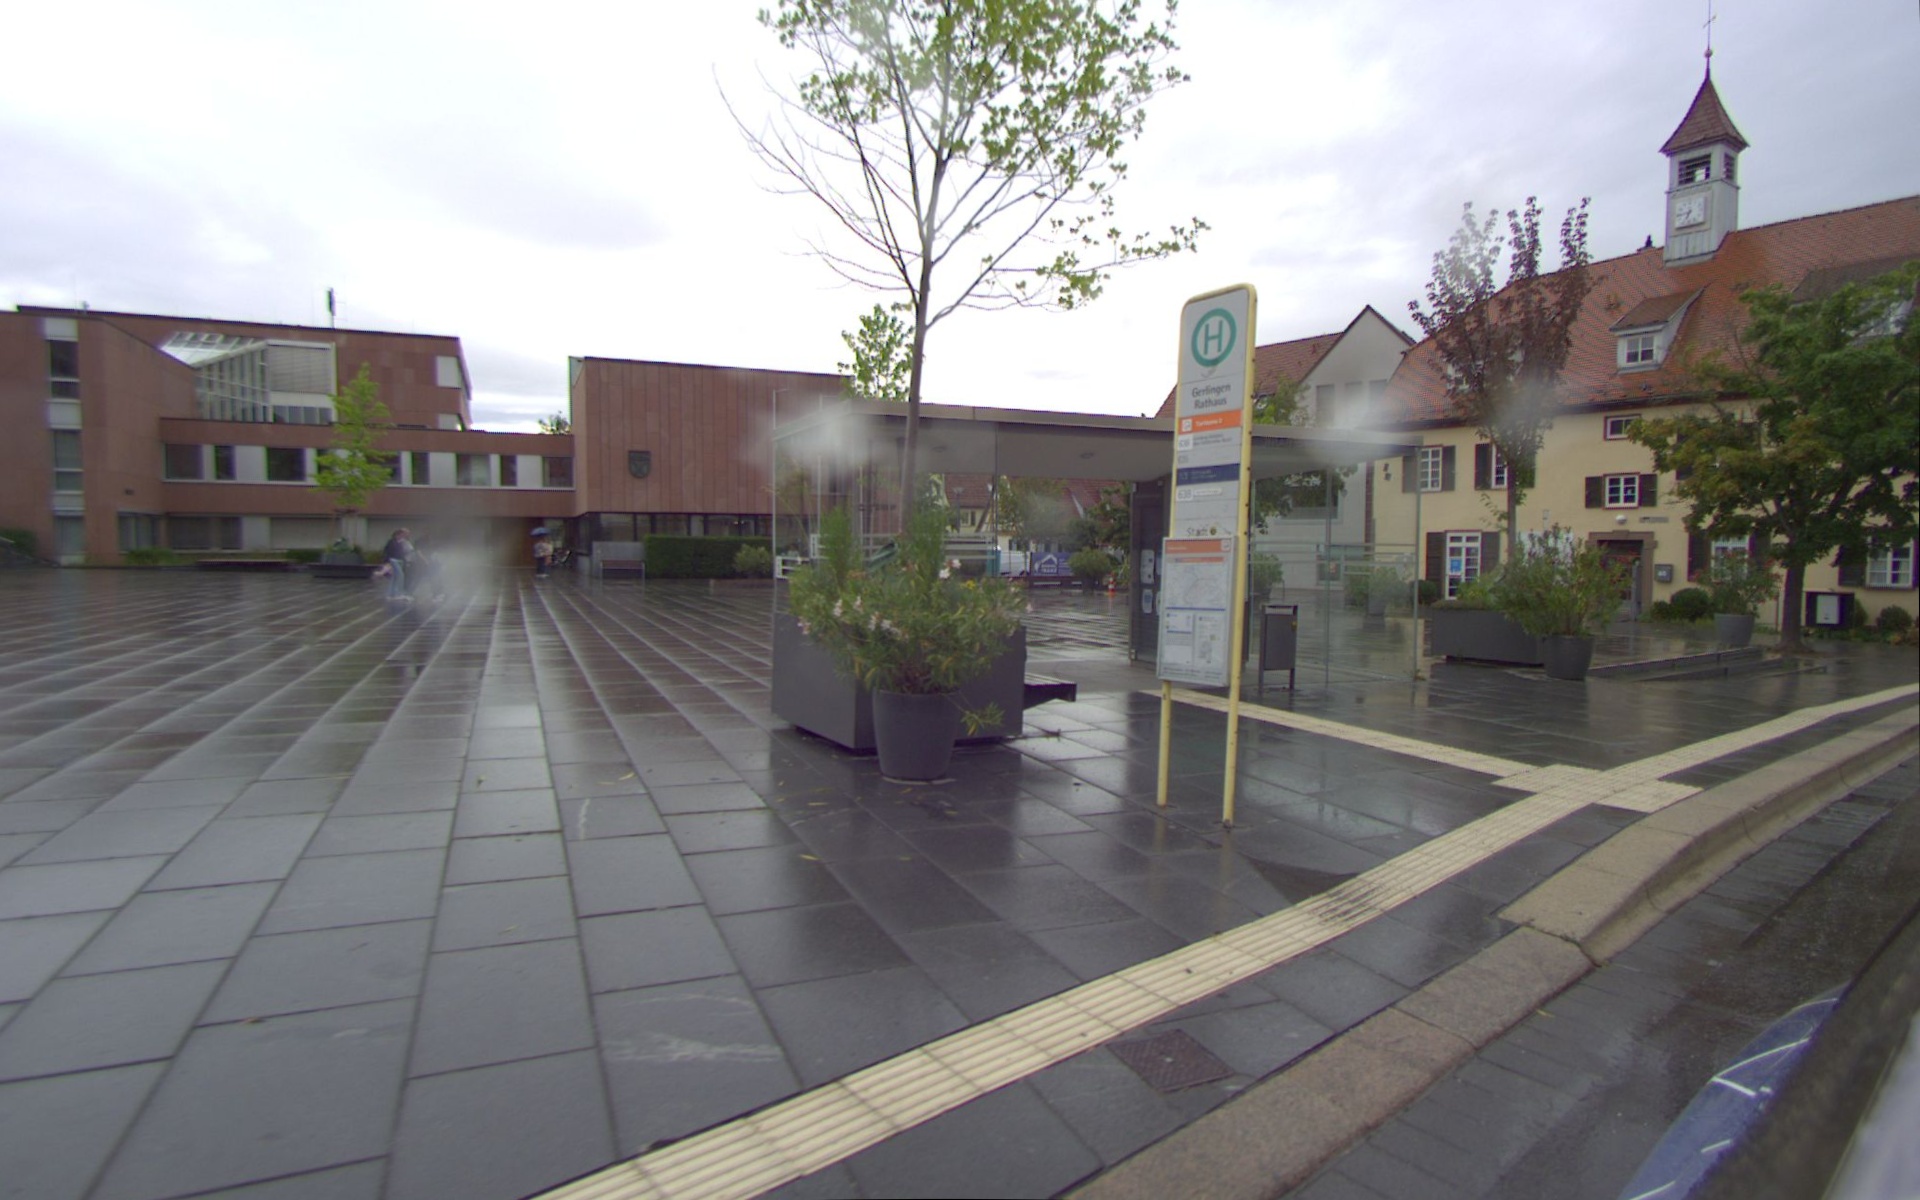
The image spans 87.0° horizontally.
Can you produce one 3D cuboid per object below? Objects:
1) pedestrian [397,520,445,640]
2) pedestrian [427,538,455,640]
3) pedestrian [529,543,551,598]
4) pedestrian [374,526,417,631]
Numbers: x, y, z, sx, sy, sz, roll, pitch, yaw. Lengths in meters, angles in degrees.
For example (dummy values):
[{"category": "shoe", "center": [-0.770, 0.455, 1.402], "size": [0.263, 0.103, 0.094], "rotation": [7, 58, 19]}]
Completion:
[{"category": "pedestrian", "center": [-12.501, -0.481, 23.499], "size": [0.814, 2.716, 1.060], "rotation": [0, 3, -19]}, {"category": "pedestrian", "center": [-12.896, -0.288, 25.141], "size": [0.557, 2.468, 0.738], "rotation": [0, 3, -24]}, {"category": "pedestrian", "center": [-17.928, -1.273, 43.218], "size": [0.783, 2.336, 0.905], "rotation": [-1, 3, -28]}, {"category": "pedestrian", "center": [-13.537, -0.538, 24.279], "size": [0.760, 2.468, 0.946], "rotation": [0, 3, -22]}]
